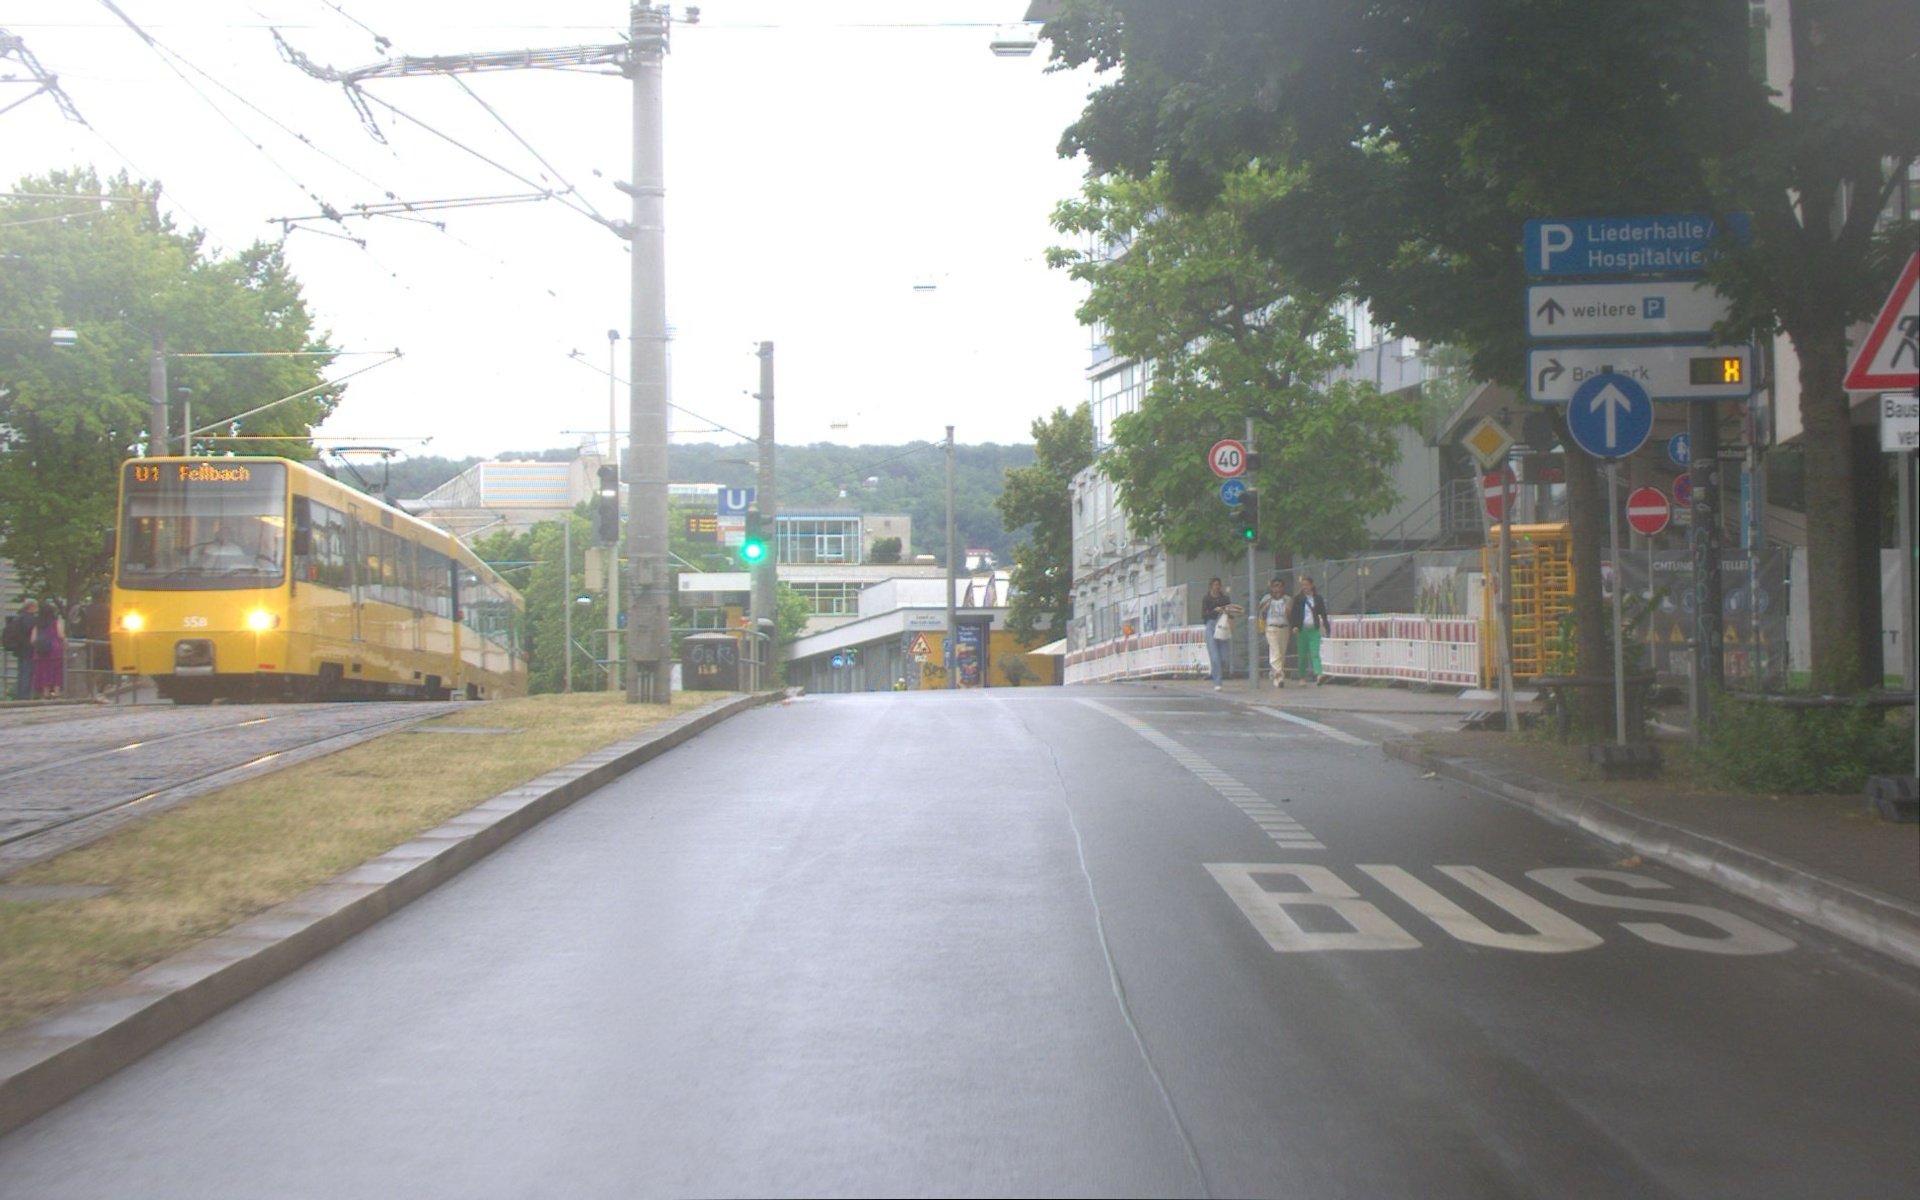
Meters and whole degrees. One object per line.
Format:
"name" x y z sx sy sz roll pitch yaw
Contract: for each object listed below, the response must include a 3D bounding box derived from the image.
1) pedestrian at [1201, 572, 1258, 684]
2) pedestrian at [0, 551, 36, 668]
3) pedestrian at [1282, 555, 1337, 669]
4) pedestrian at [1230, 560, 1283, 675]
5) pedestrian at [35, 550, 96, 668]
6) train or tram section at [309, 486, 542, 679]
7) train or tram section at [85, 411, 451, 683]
"pedestrian" 4.186 0.433 53.460 0.736 1.724 1.119 0 0 -3
"pedestrian" -14.623 0.142 52.665 0.732 1.784 0.697 -1 0 -1
"pedestrian" 5.489 0.184 54.051 0.699 1.779 1.067 0 0 -3
"pedestrian" 4.710 0.267 54.596 0.699 1.809 0.977 0 0 -3
"pedestrian" -13.680 0.132 52.603 0.732 1.784 0.697 -1 0 -1
"train or tram section" -11.344 -0.137 75.071 2.746 3.684 18.970 0 -1 -2
"train or tram section" -10.776 -0.525 56.064 2.746 3.684 18.970 0 -1 -2
